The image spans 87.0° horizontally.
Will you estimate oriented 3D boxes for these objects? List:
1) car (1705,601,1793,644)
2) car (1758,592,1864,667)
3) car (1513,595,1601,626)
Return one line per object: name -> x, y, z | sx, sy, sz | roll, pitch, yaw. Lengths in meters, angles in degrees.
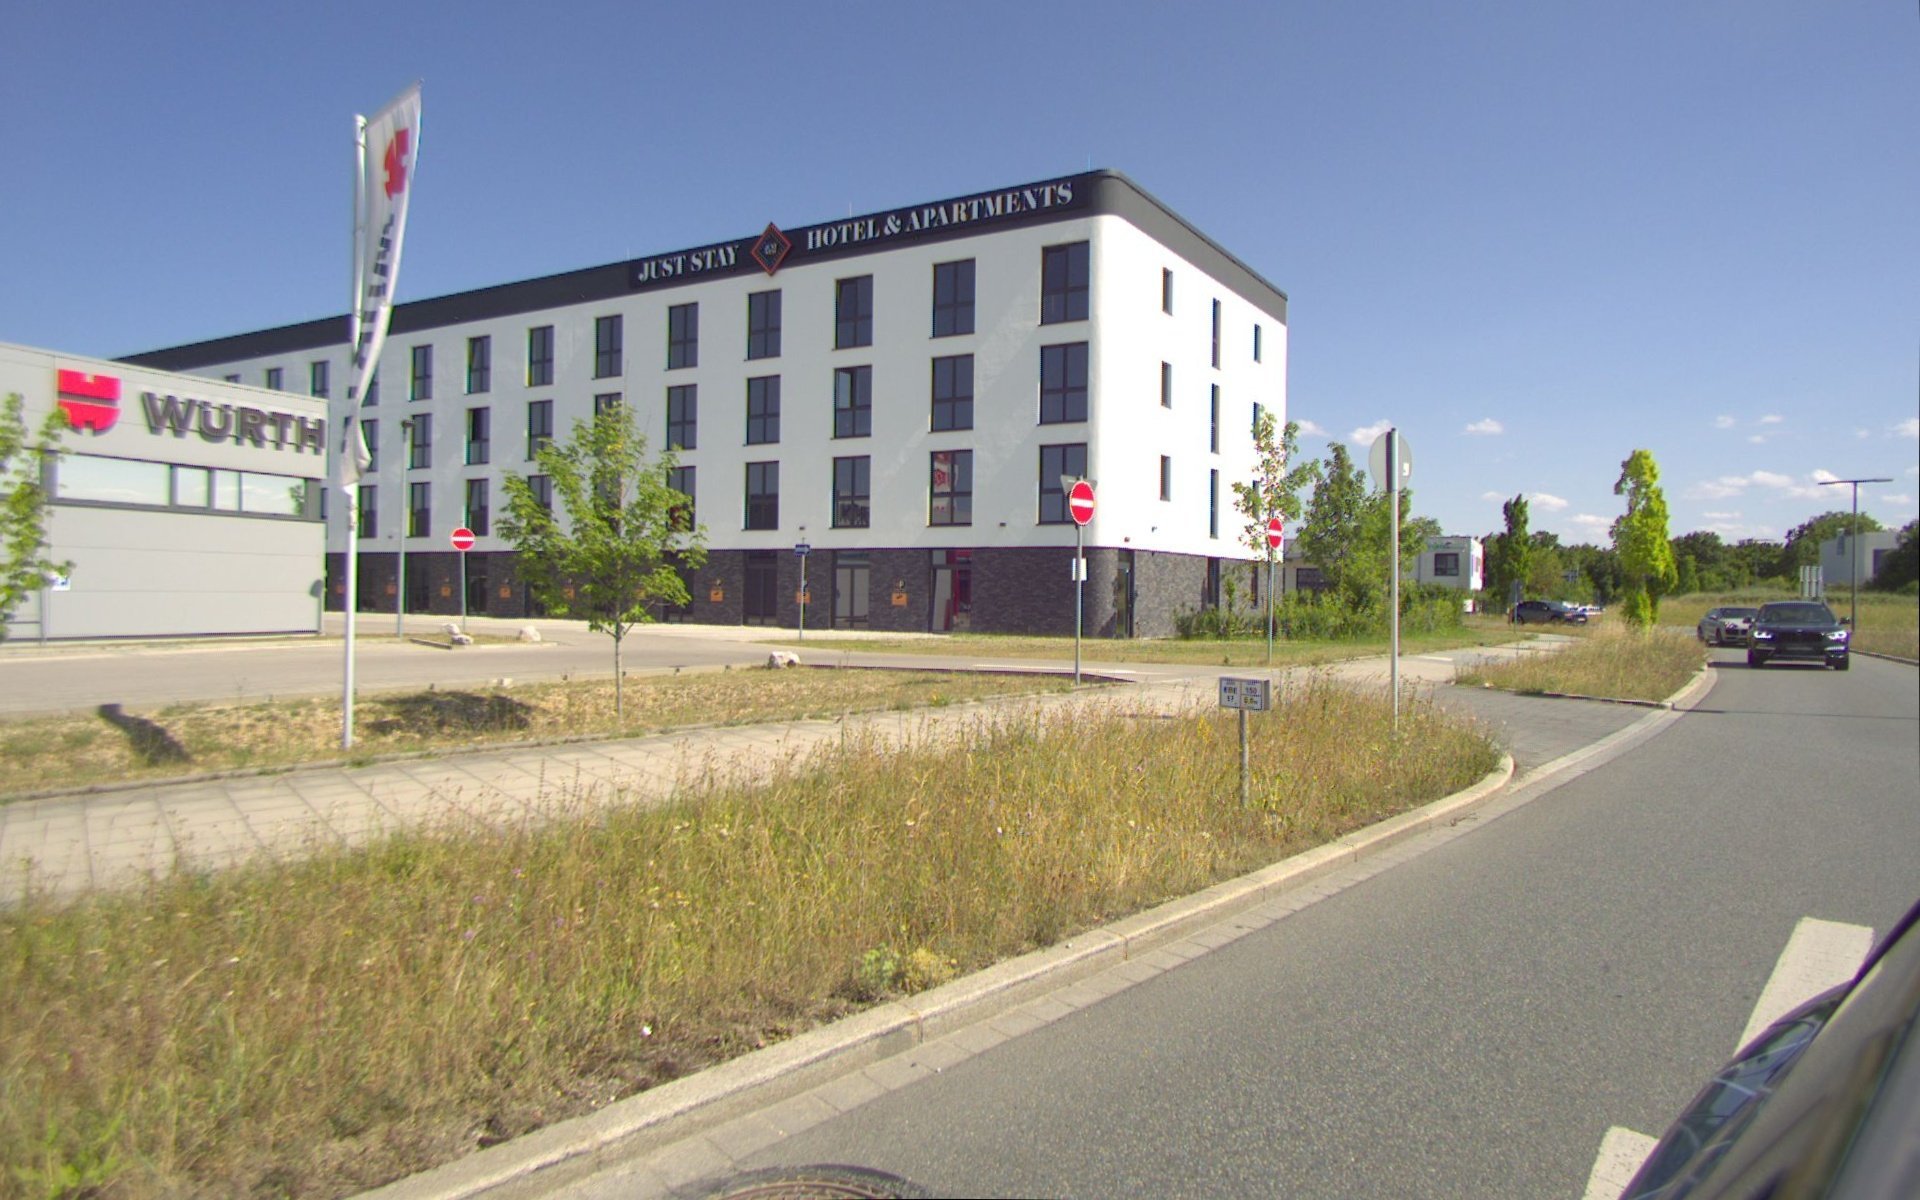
car -> 32.891, 0.937, 42.326 | 2.096, 1.664, 4.729 | 0, -1, 28
car -> 21.240, 0.708, 25.273 | 1.894, 1.701, 4.400 | 0, -1, 41
car -> 35.157, 0.608, 59.763 | 1.721, 1.709, 4.390 | 0, 1, -19
